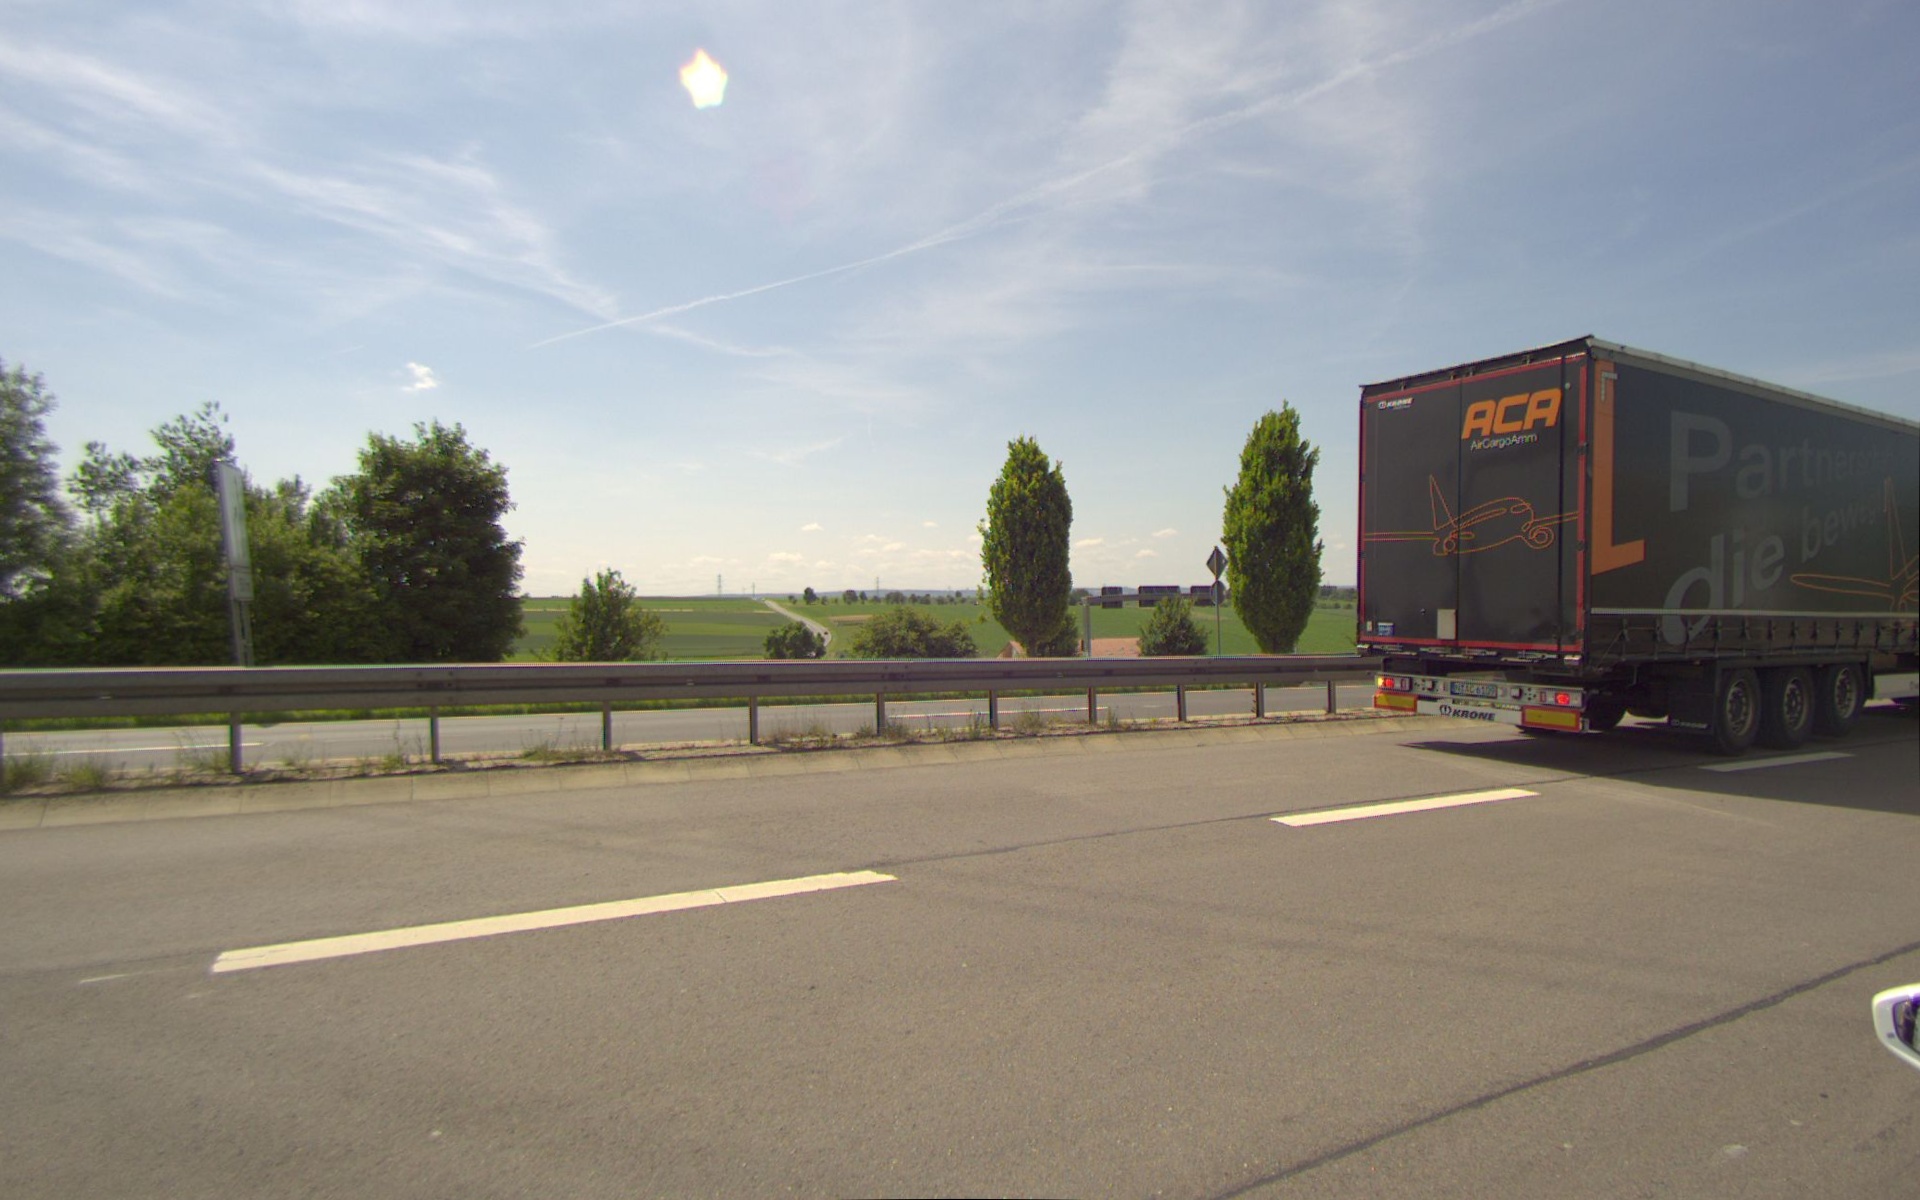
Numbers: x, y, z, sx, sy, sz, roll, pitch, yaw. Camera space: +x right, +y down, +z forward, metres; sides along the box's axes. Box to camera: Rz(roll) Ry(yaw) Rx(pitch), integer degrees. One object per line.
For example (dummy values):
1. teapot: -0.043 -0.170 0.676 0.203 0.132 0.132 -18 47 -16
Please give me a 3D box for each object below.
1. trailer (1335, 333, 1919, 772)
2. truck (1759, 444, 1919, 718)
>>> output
1. trailer: 10.921 -0.293 13.672 13.621 3.966 2.770 1 0 -30
2. truck: 16.492 -0.226 16.865 5.899 4.067 2.770 1 0 -30
